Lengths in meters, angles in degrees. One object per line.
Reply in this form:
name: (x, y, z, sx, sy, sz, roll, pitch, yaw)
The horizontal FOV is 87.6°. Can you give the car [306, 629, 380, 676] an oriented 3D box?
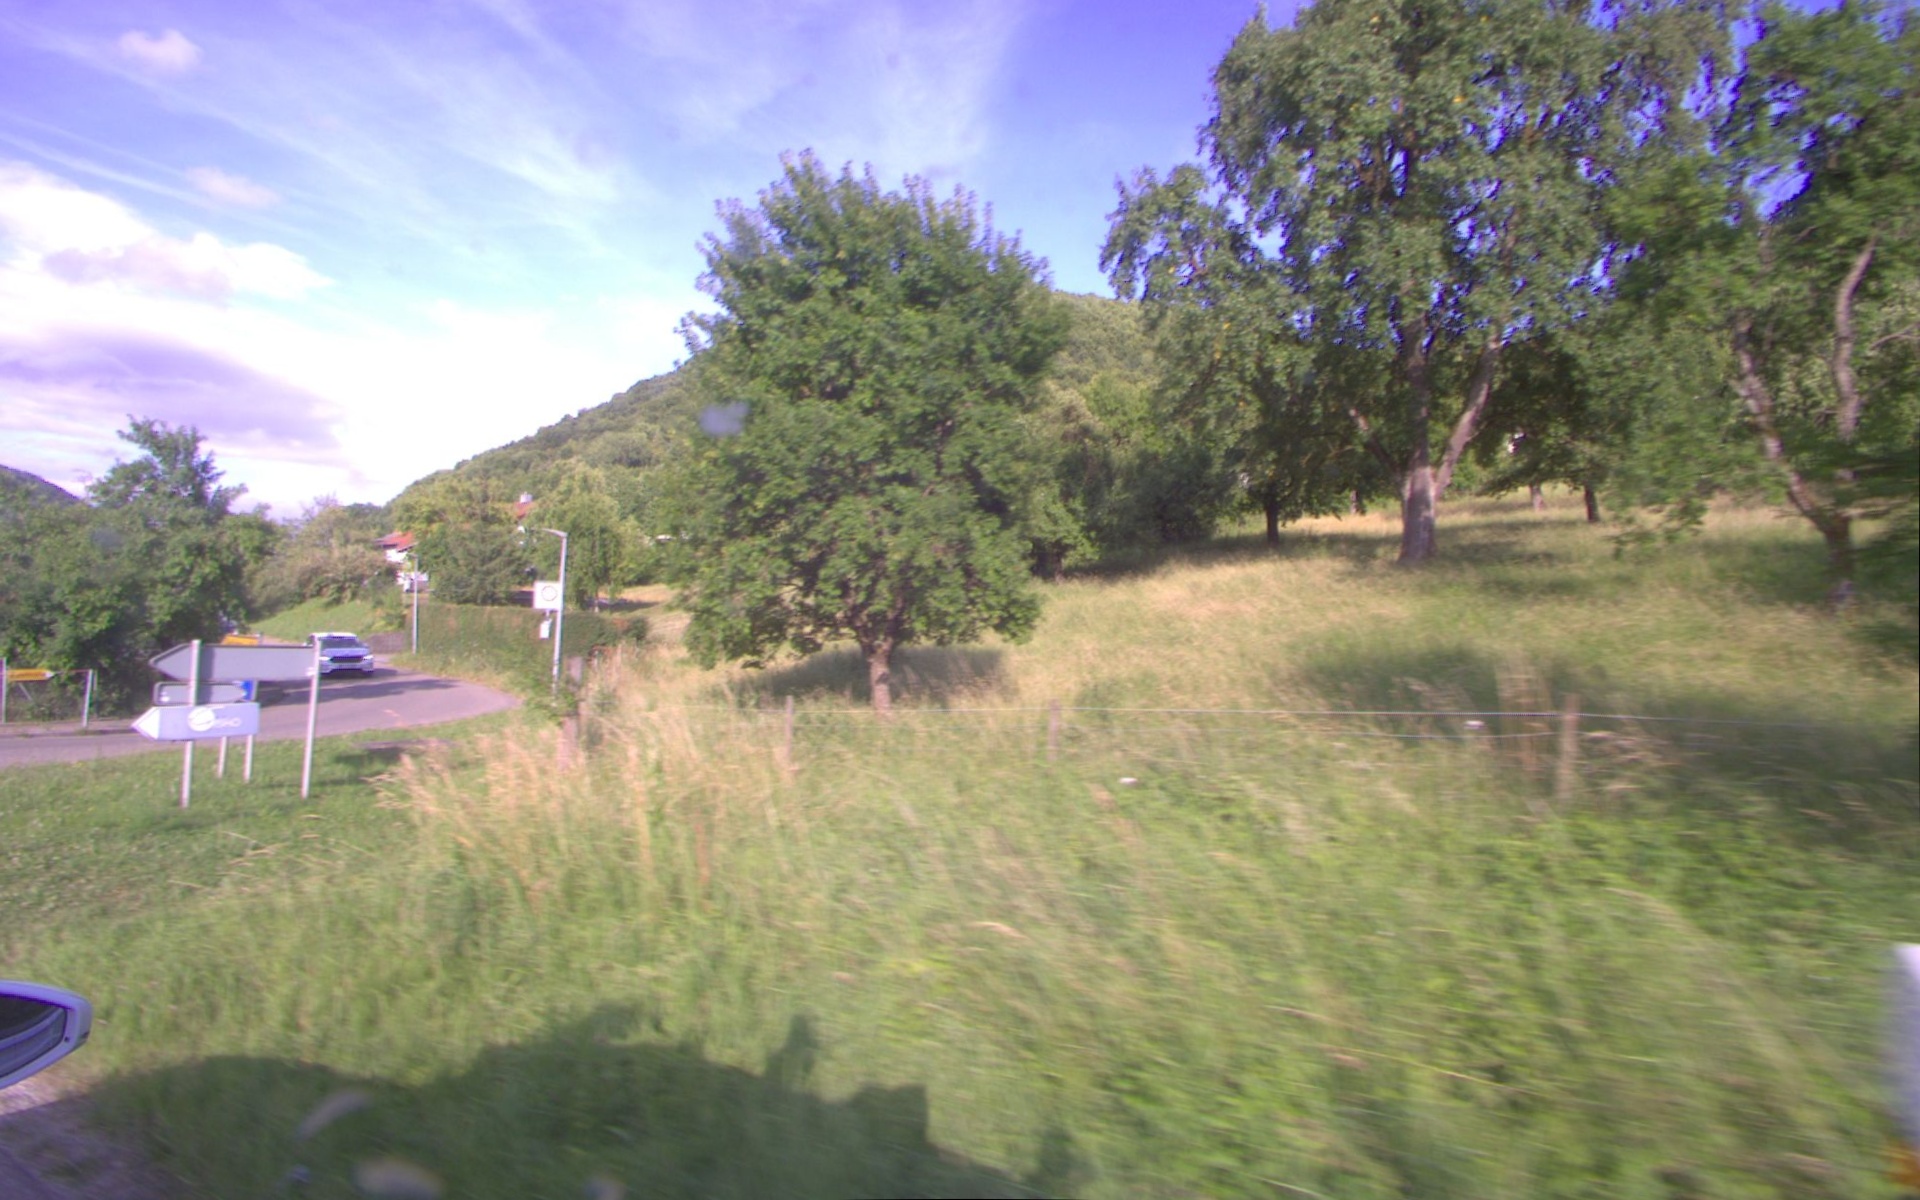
car: (-23.175, 1.928, 37.536, 1.852, 1.630, 4.536, 2, -2, -38)
